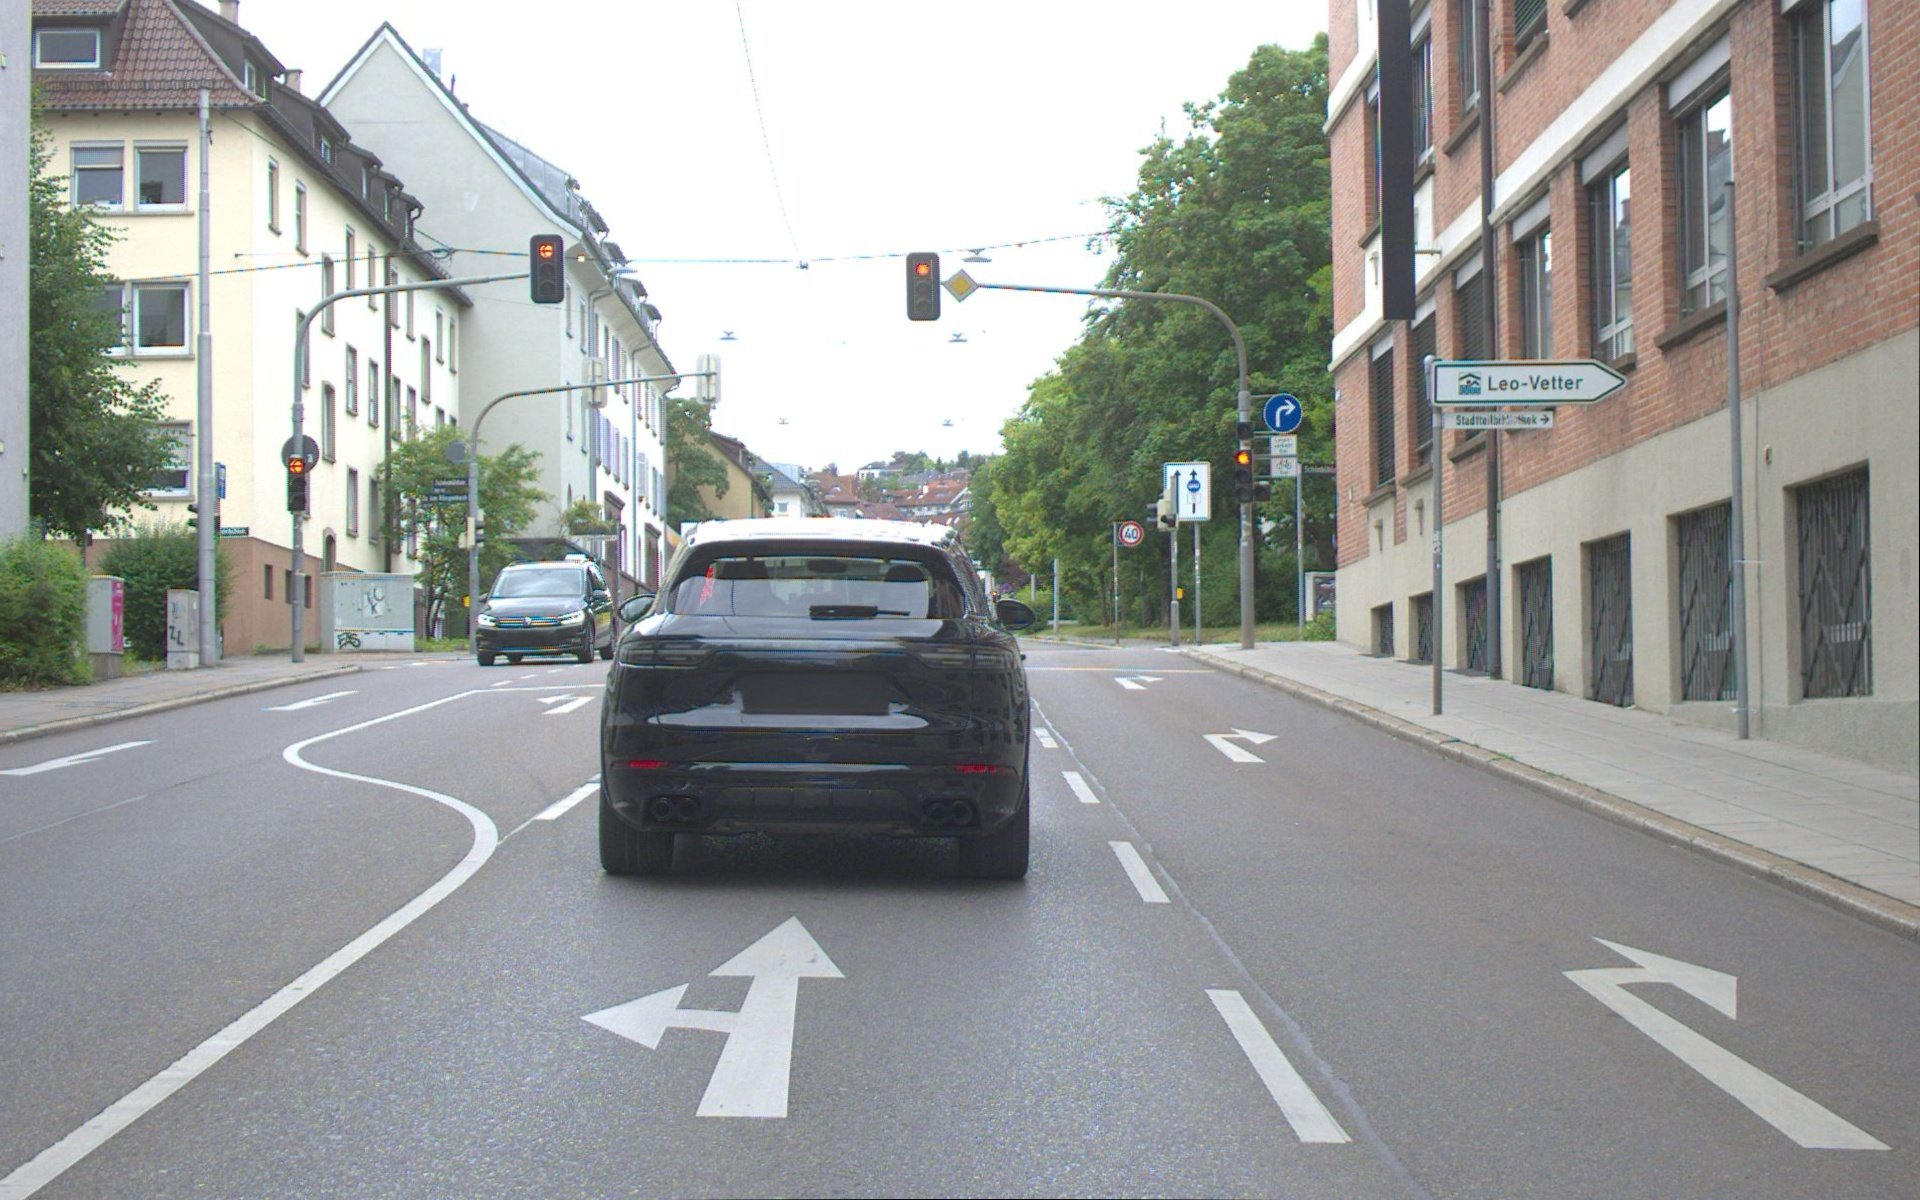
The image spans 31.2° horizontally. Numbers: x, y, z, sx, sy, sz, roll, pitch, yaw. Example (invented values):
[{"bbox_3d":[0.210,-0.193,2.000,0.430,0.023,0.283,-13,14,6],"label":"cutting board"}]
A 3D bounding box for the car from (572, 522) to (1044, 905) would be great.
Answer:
[{"bbox_3d":[-0.828,0.472,17.154,2.023,1.636,4.357,1,1,-4],"label":"car"}]

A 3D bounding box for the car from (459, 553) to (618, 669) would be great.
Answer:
[{"bbox_3d":[-6.676,0.143,54.850,1.897,1.686,4.000,-3,1,1],"label":"car"}]

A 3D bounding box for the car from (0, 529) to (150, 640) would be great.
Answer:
[{"bbox_3d":[-14.683,-0.262,56.495,1.844,1.686,4.000,-3,1,-2],"label":"car"}]
